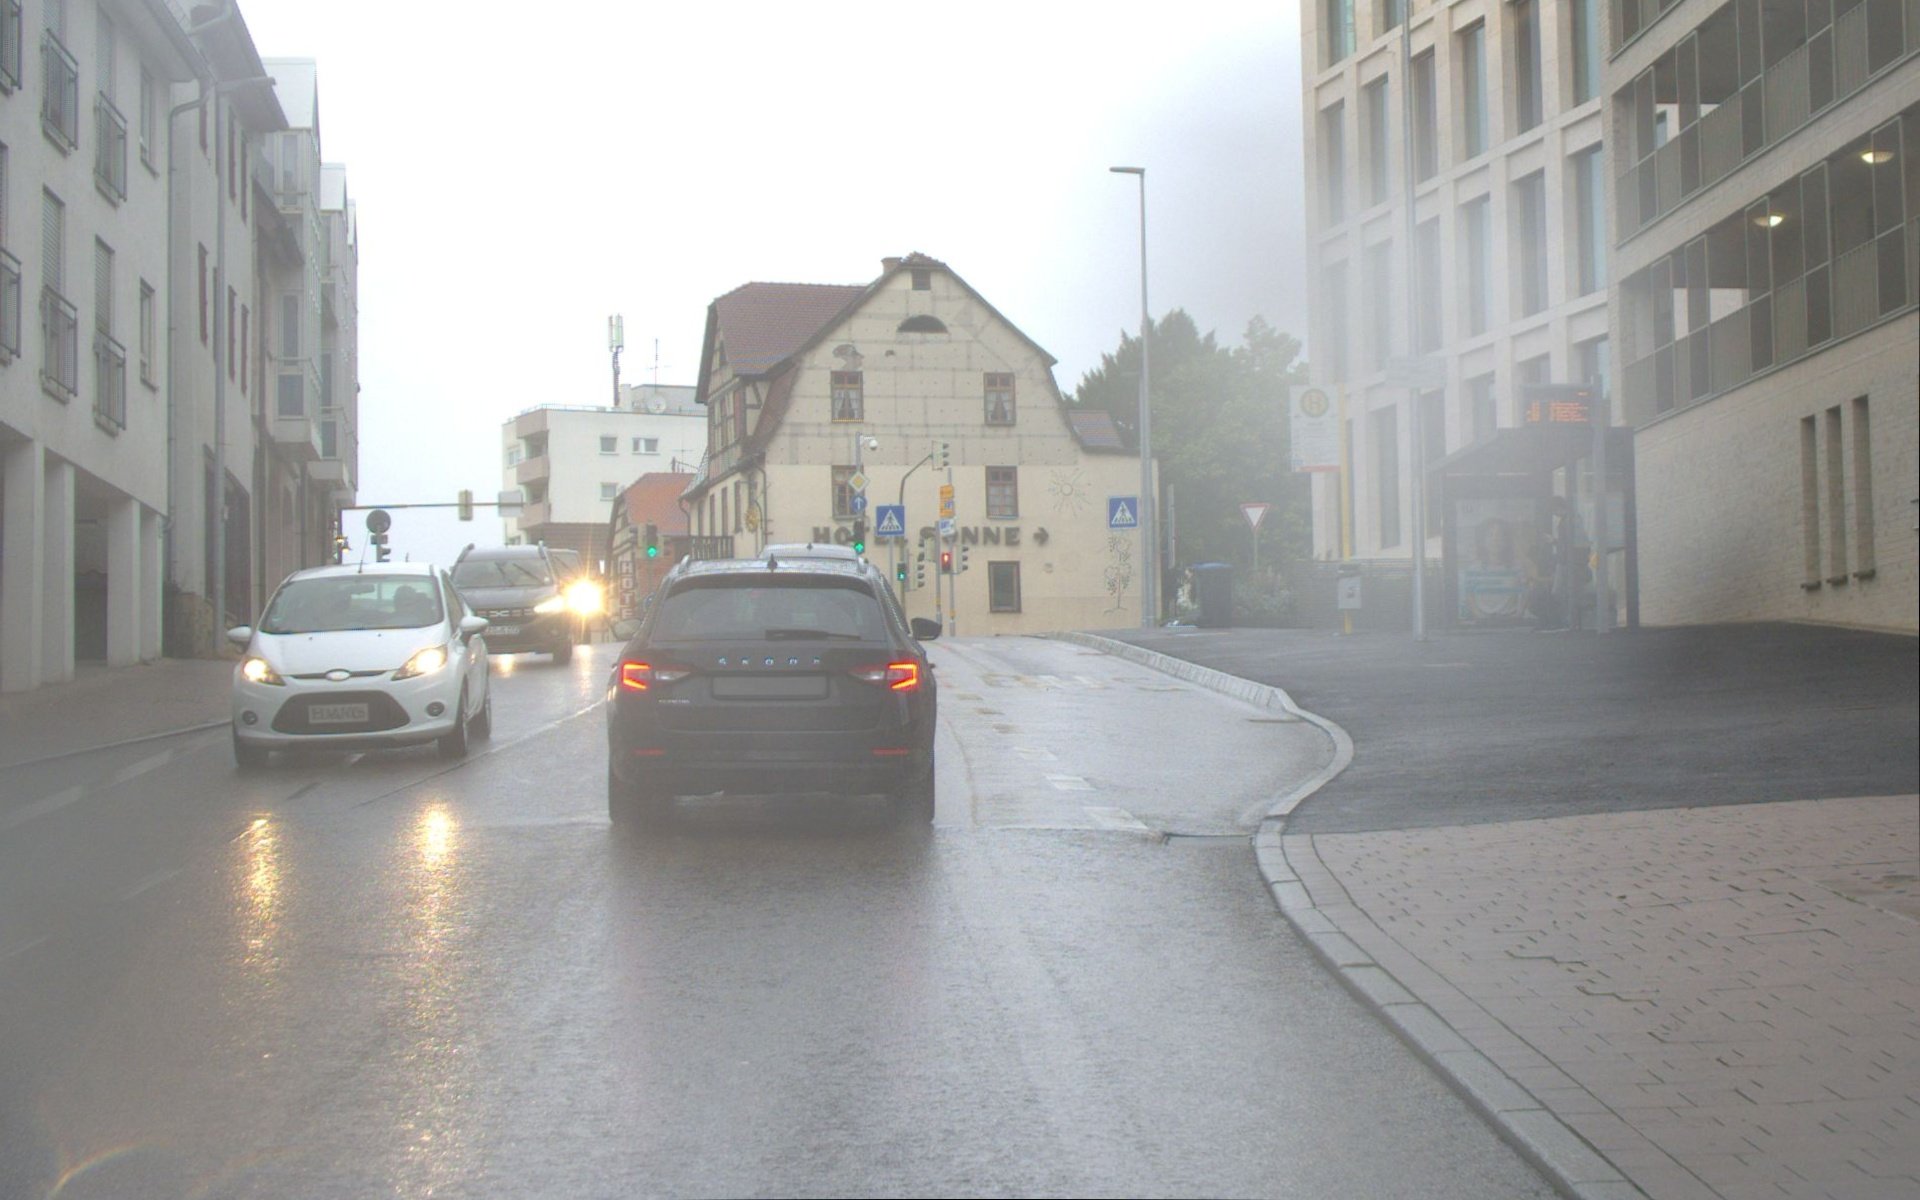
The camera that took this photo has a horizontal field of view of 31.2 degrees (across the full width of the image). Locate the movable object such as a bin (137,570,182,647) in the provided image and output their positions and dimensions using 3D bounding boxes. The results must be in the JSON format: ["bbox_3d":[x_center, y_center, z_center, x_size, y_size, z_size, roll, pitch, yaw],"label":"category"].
[{"bbox_3d":[-10.688,0.111,45.916,0.508,1.003,0.585,0,1,-5],"label":"movable object such as a bin"}]

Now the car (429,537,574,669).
[{"bbox_3d":[-6.220,0.014,46.979,1.781,1.688,4.460,-1,1,-6],"label":"car"}]

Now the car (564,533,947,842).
[{"bbox_3d":[-1.201,0.417,19.864,1.944,1.561,4.418,-1,1,-4],"label":"car"}]

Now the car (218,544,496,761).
[{"bbox_3d":[-4.499,0.346,26.087,1.677,1.505,3.589,-1,1,-4],"label":"car"}]

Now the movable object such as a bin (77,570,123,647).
[{"bbox_3d":[-11.434,0.107,45.716,0.508,1.003,0.585,0,1,-5],"label":"movable object such as a bin"}]

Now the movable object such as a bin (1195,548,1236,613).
[{"bbox_3d":[4.259,-0.323,57.335,0.595,1.058,0.579,-1,0,-2],"label":"movable object such as a bin"}]

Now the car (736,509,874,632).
[{"bbox_3d":[-2.040,-0.387,44.523,1.677,1.505,3.589,-1,1,-4],"label":"car"}]

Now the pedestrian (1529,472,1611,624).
[{"bbox_3d":[7.949,-0.676,44.829,0.782,1.933,1.021,-2,0,-1],"label":"pedestrian"}]

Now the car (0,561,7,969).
[{"bbox_3d":[-4.285,0.632,10.840,1.677,1.505,3.589,-1,1,-2],"label":"car"}]

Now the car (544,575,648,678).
[{"bbox_3d":[-7.327,0.502,69.564,1.931,1.901,5.044,-2,1,-5],"label":"car"}]

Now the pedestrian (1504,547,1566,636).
[{"bbox_3d":[7.739,-0.117,46.261,0.672,1.158,0.635,-2,0,-1],"label":"pedestrian"}]
